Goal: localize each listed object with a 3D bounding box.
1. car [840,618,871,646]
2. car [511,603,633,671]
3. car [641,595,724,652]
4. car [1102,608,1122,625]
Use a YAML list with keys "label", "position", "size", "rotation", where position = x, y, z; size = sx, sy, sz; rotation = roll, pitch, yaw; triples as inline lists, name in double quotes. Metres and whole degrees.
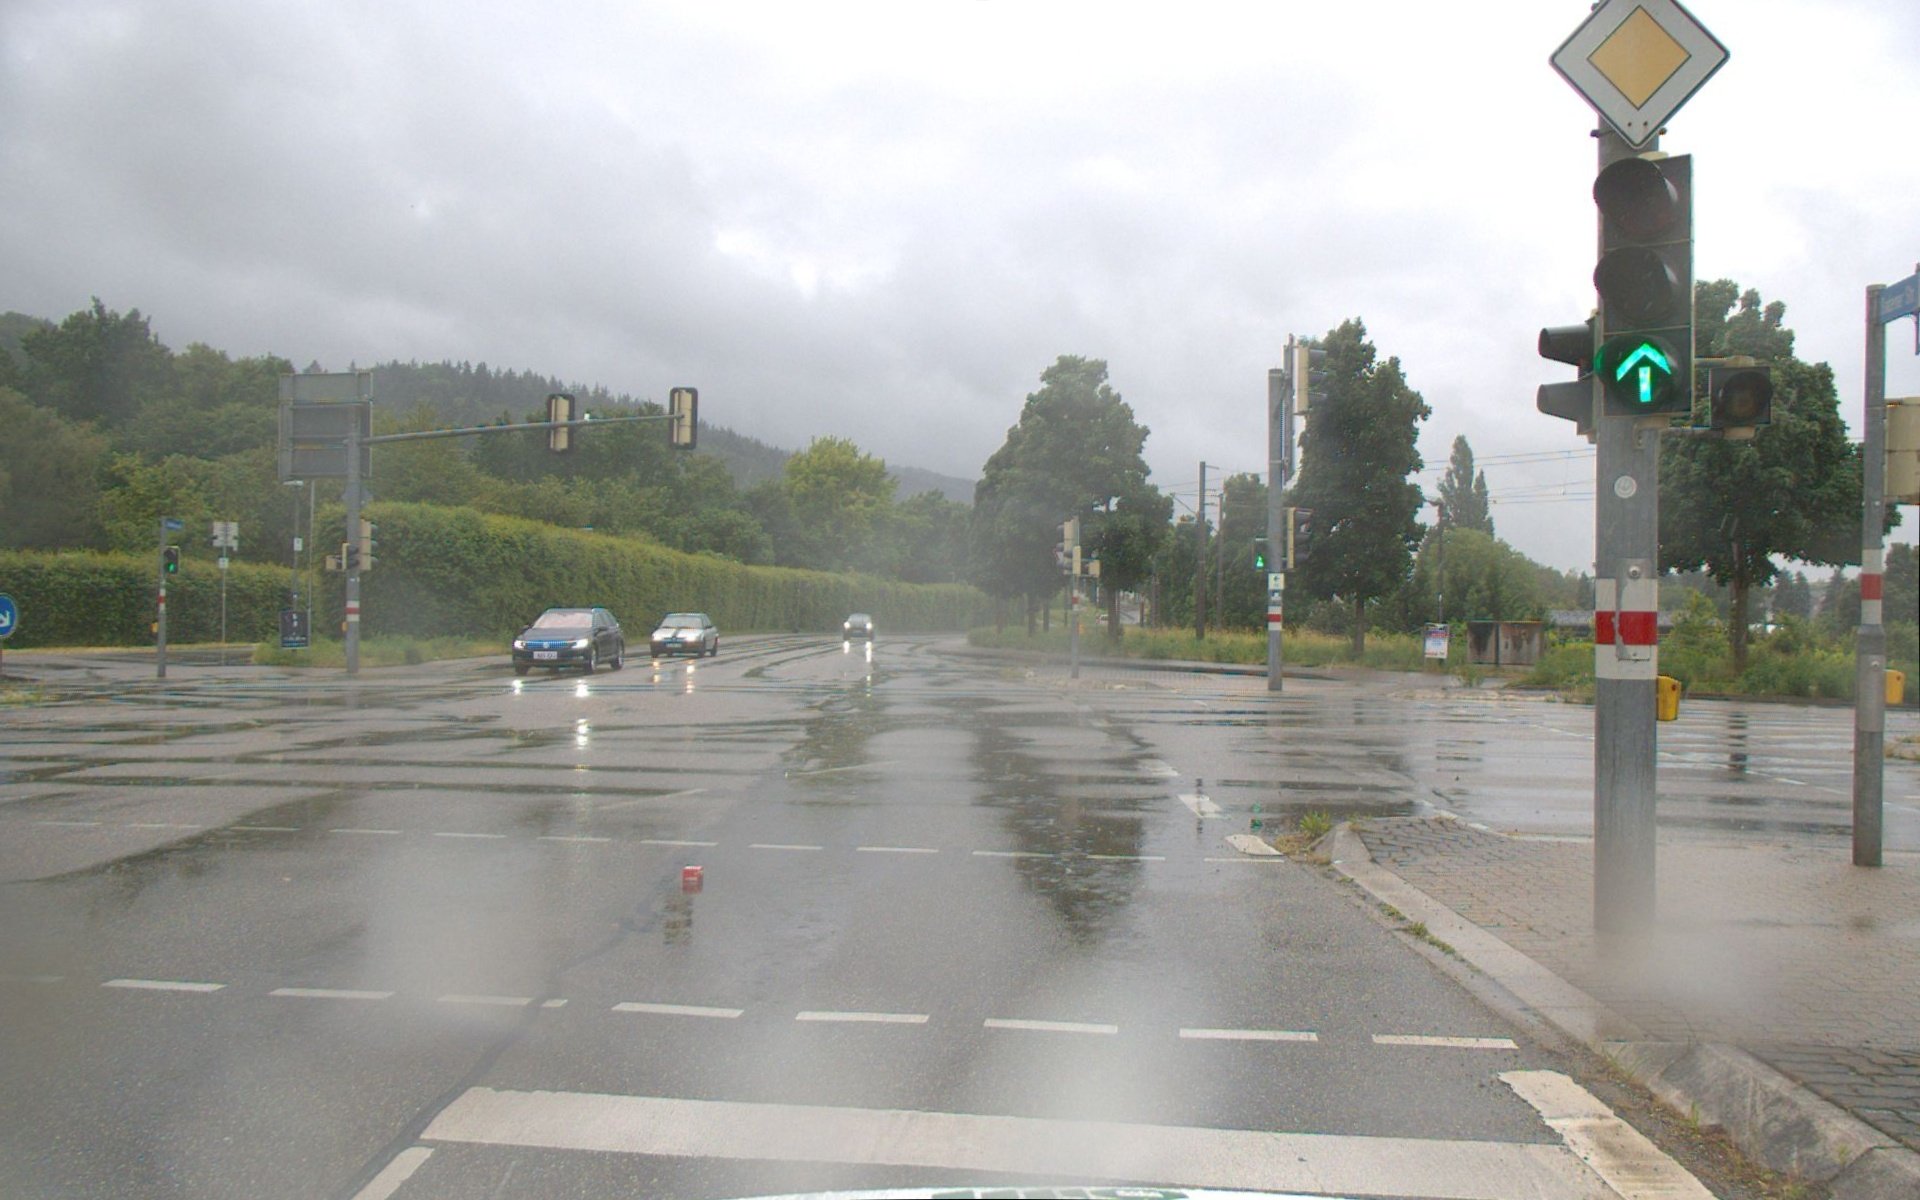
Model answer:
- label: "car"
  position: [-6.180, 1.890, 98.176]
  size: [1.749, 1.531, 4.059]
  rotation: [-1, 1, -2]
- label: "car"
  position: [-9.046, 0.824, 38.930]
  size: [1.673, 1.491, 4.454]
  rotation: [0, 0, 2]
- label: "car"
  position: [-8.832, 0.716, 52.942]
  size: [1.995, 1.738, 4.065]
  rotation: [1, 0, -1]
- label: "car"
  position: [18.633, 2.010, 202.351]
  size: [1.912, 1.937, 4.123]
  rotation: [0, 0, 13]
